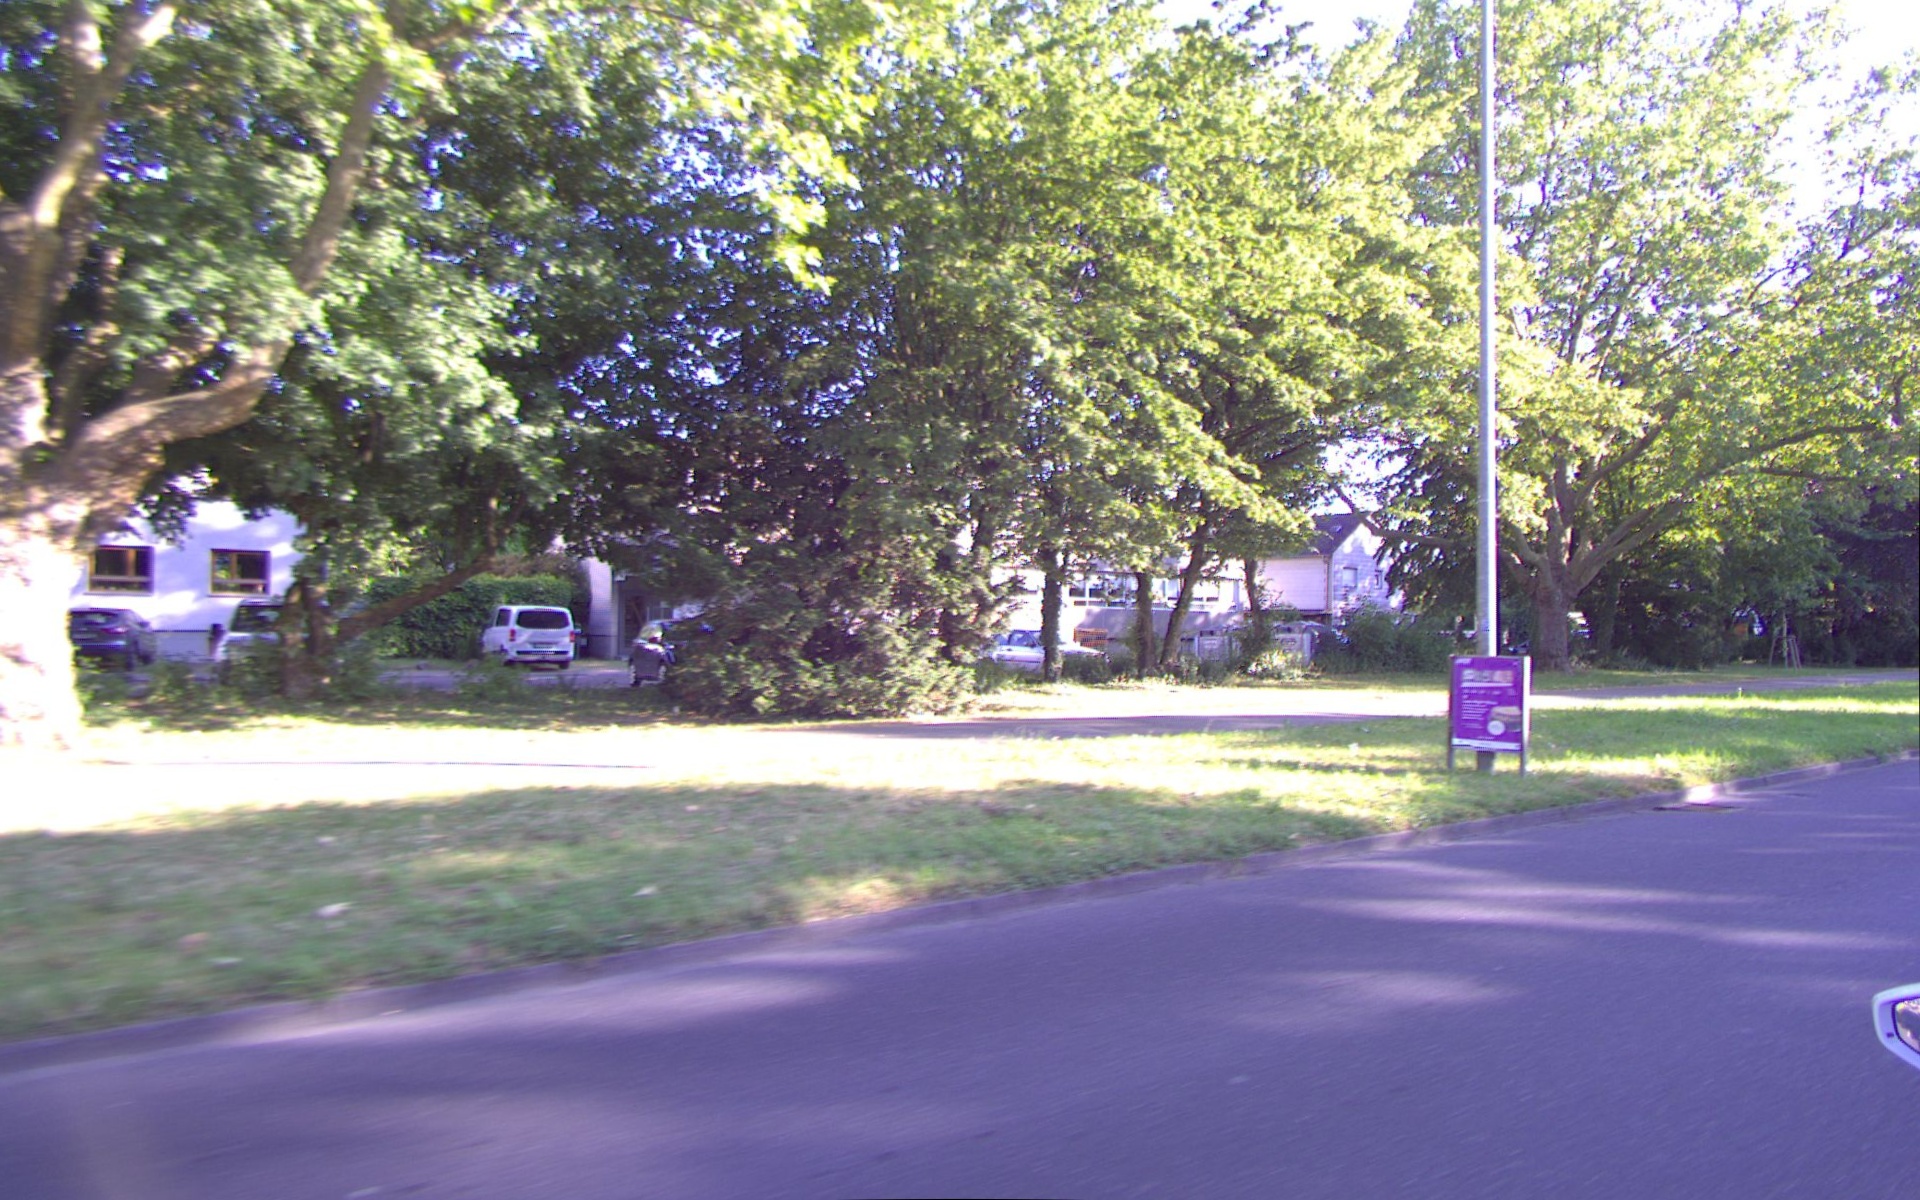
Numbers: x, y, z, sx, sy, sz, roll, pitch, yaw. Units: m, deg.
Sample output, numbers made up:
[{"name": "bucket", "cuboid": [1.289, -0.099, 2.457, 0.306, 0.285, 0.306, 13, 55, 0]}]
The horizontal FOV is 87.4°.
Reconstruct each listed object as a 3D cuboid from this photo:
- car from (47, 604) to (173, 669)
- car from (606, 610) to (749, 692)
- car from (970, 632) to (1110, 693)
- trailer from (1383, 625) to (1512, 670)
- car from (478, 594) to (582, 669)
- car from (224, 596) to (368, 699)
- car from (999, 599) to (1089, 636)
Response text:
[{"name": "car", "cuboid": [-22.121, 0.933, 26.298, 1.903, 1.572, 3.966, 1, -2, -32]}, {"name": "car", "cuboid": [-6.271, 1.046, 22.014, 1.893, 1.528, 3.962, 2, 0, -34]}, {"name": "car", "cuboid": [2.108, 1.644, 27.214, 1.751, 1.483, 3.702, 2, -2, -38]}, {"name": "trailer", "cuboid": [18.398, 1.776, 38.062, 1.981, 1.576, 3.960, 2, -2, -36]}, {"name": "car", "cuboid": [-13.345, 0.927, 31.044, 1.981, 2.040, 4.513, 2, 0, -36]}, {"name": "car", "cuboid": [-11.933, 0.800, 18.018, 1.934, 1.617, 4.097, 2, -2, -35]}, {"name": "car", "cuboid": [3.790, 0.810, 45.974, 1.914, 1.622, 3.955, 2, -2, -39]}]
